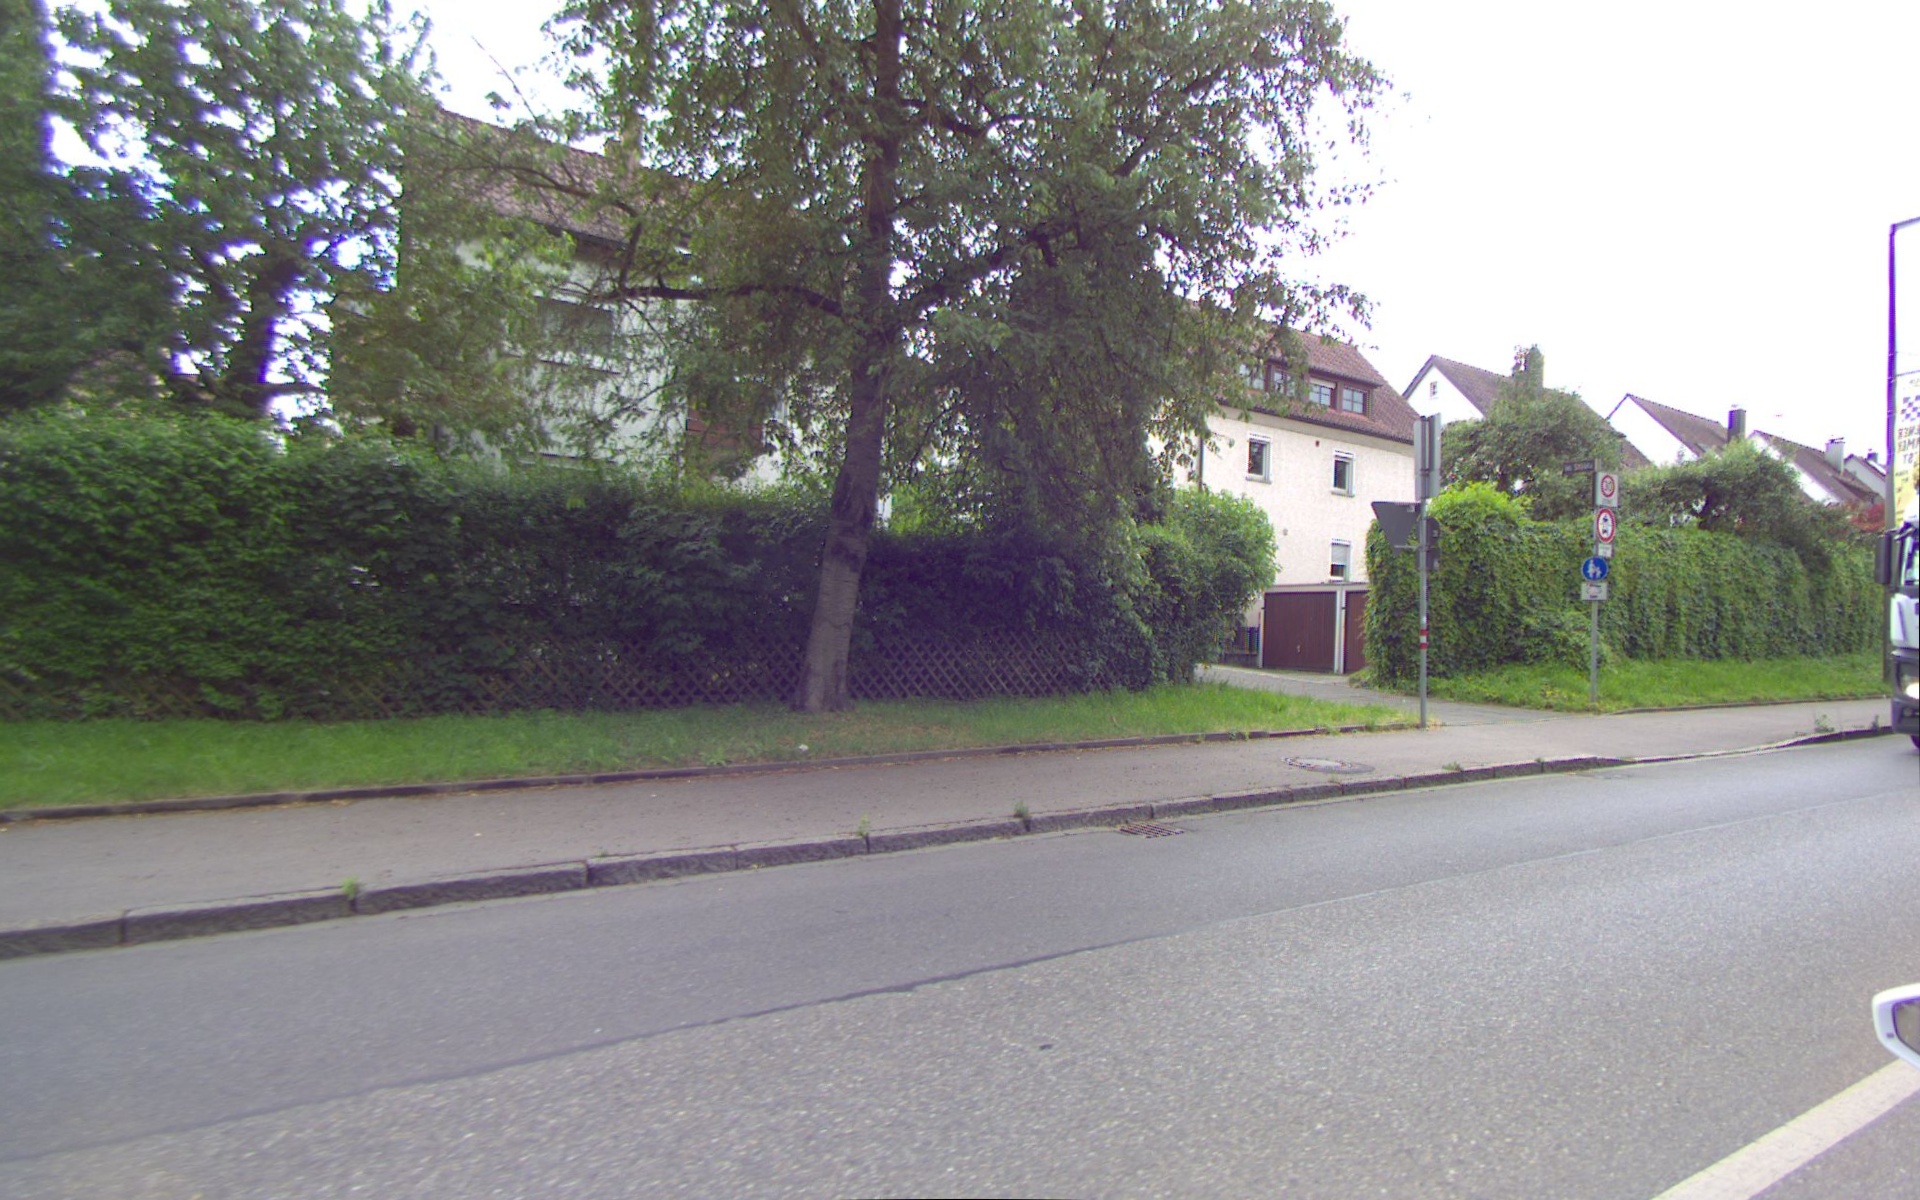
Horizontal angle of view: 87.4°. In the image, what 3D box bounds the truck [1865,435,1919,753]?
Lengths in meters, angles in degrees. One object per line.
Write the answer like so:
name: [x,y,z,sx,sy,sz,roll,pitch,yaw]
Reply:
truck: [17.211,0.069,15.066,10.502,4.096,2.537,2,-3,-32]
